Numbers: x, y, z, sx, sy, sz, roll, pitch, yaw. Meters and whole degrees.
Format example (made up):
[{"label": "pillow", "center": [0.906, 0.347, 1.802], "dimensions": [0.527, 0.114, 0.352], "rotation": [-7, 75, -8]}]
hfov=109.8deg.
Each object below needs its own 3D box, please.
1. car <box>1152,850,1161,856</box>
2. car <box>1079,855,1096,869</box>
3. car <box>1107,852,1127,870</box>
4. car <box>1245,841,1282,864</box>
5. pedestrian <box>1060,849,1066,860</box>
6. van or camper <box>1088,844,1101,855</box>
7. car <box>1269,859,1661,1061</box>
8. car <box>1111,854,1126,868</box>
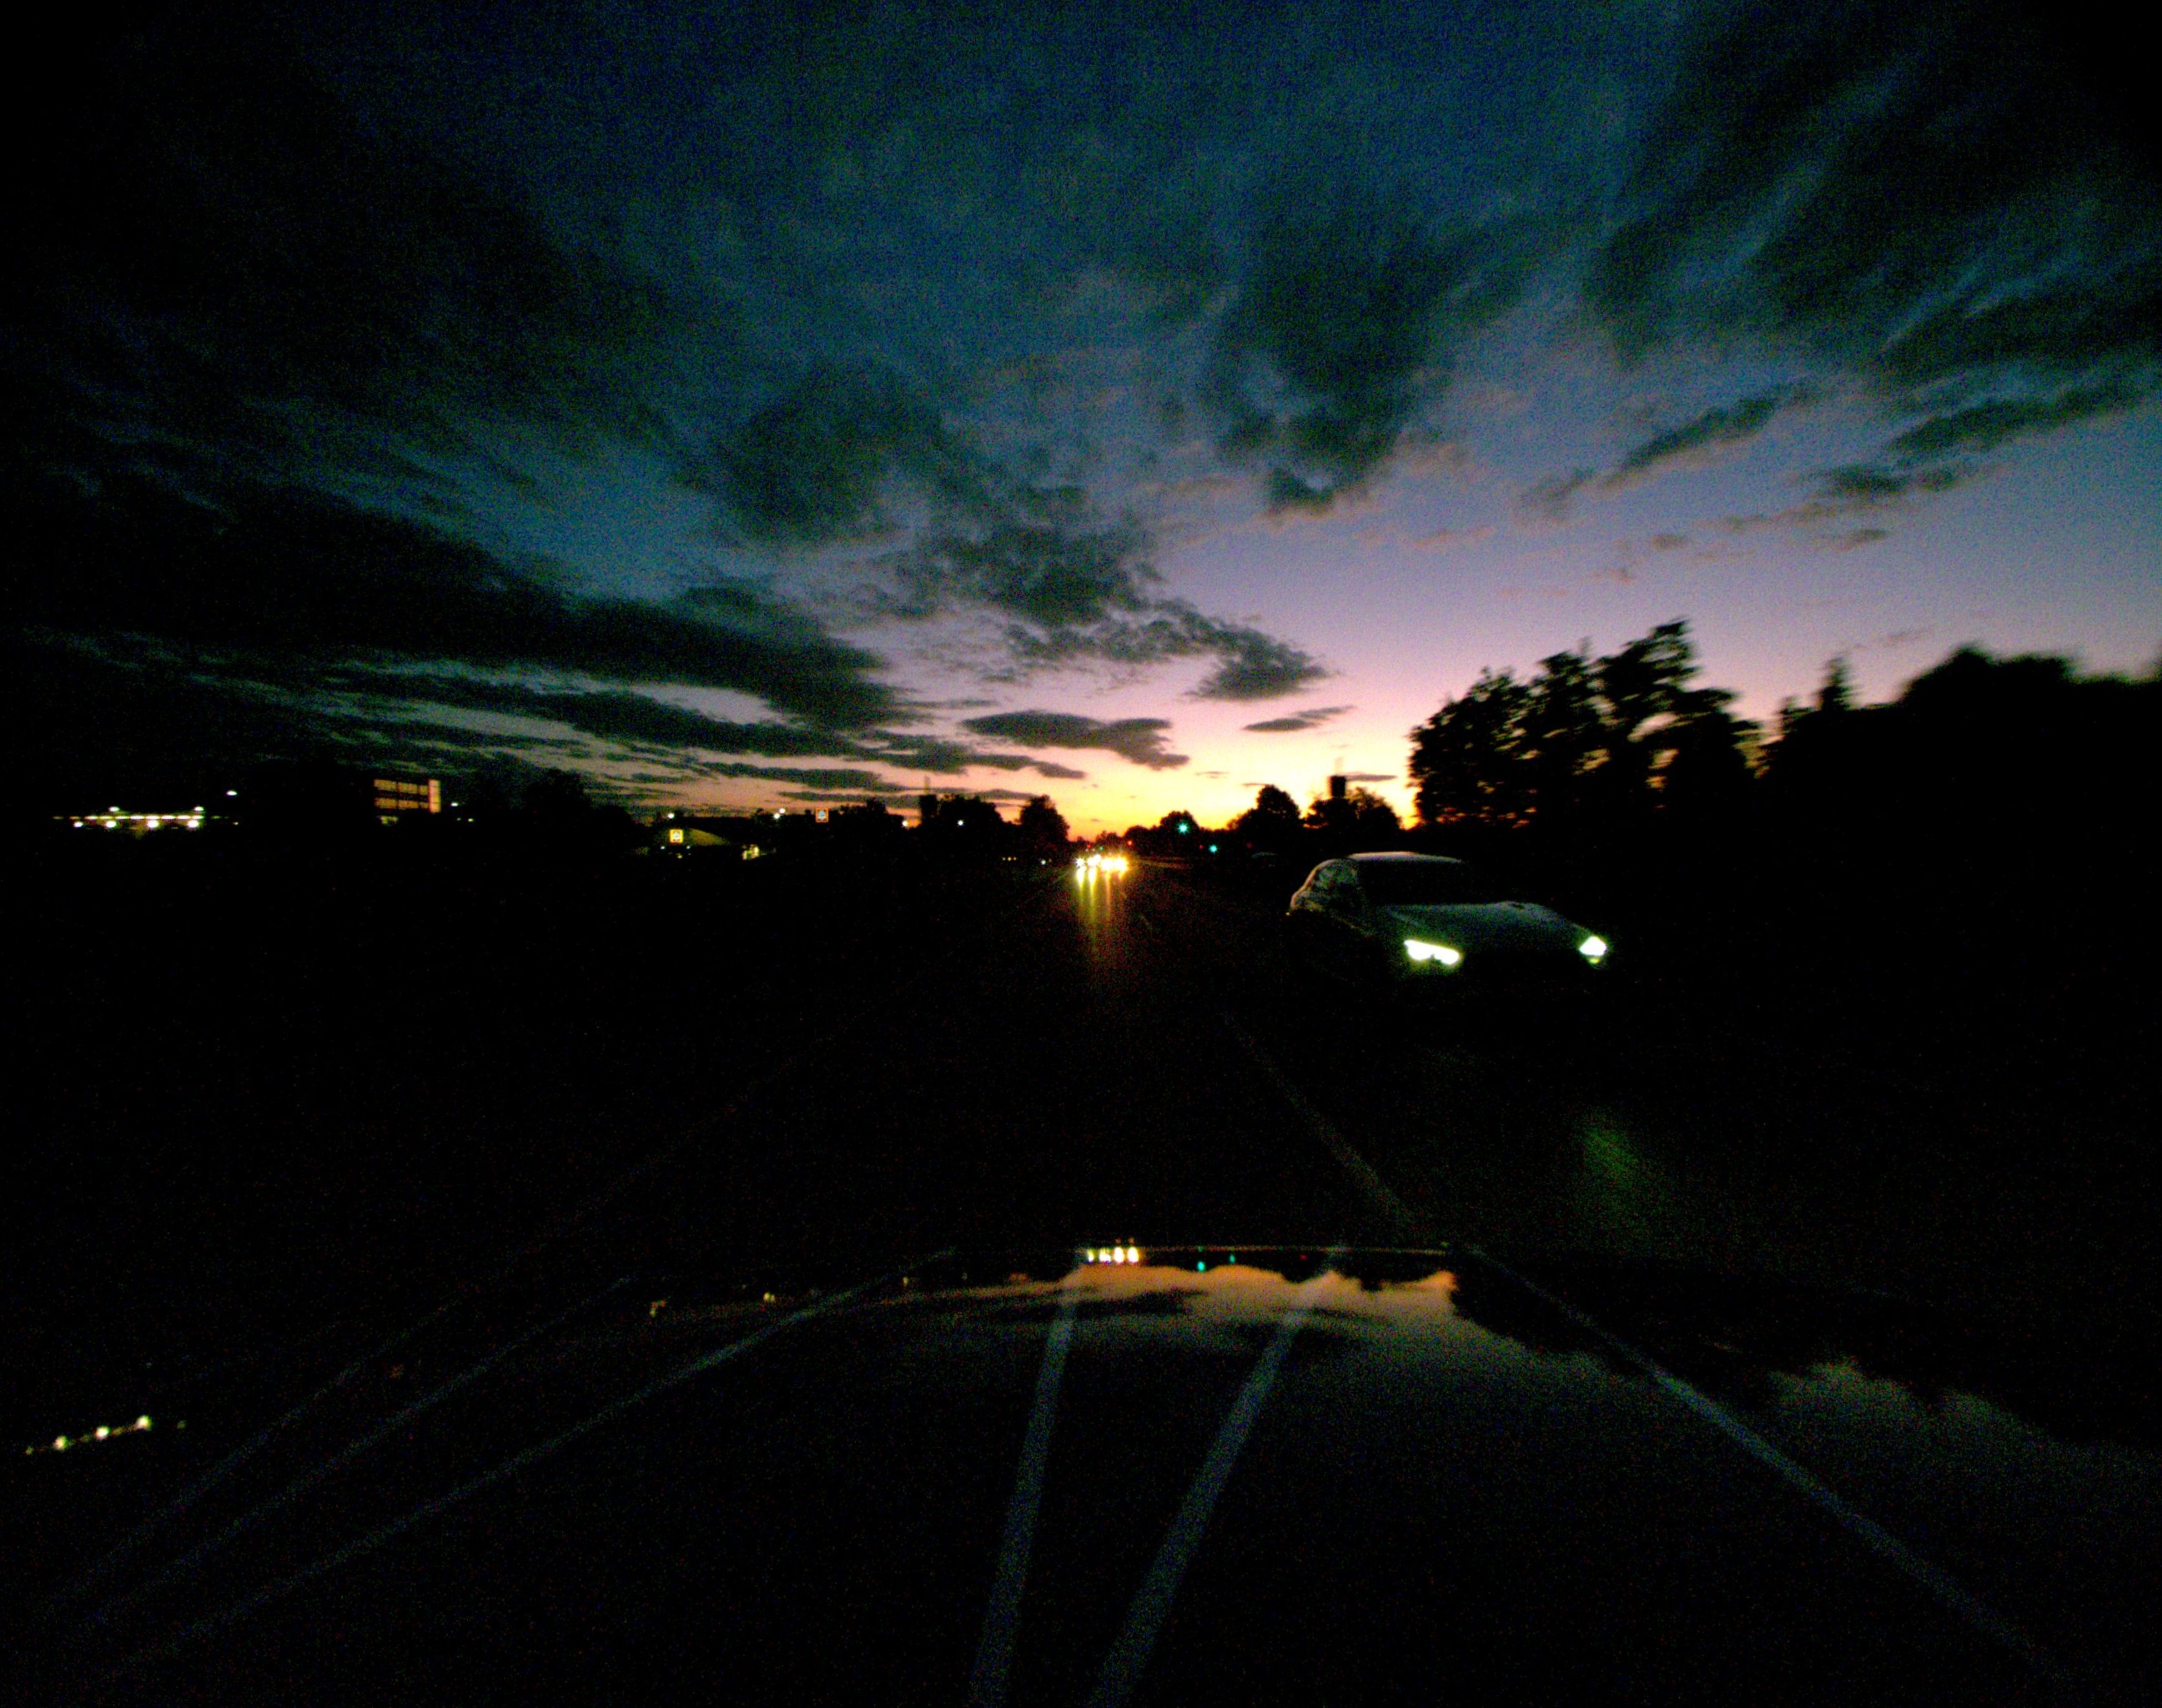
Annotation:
[{"label": "car", "center": [17.597, -0.229, 176.922], "dimensions": [1.656, 1.376, 4.029], "rotation": [-3, 1, 0]}, {"label": "car", "center": [0.870, 1.002, 94.863], "dimensions": [1.902, 1.547, 4.301], "rotation": [-4, -1, 1]}, {"label": "car", "center": [3.169, 0.610, 67.664], "dimensions": [1.663, 1.528, 3.715], "rotation": [-2, 0, 1]}, {"label": "car", "center": [12.992, -0.089, 54.257], "dimensions": [1.659, 1.496, 4.000], "rotation": [-3, 0, 0]}, {"label": "pedestrian", "center": [-3.442, 0.051, 143.227], "dimensions": [0.782, 2.002, 0.712], "rotation": [-4, 1, -38]}, {"label": "van or camper", "center": [3.958, -1.319, 224.812], "dimensions": [3.949, 3.107, 9.942], "rotation": [-1, 0, 1]}, {"label": "car", "center": [3.431, 0.819, 7.988], "dimensions": [1.819, 1.428, 4.647], "rotation": [-3, -1, 2]}, {"label": "car", "center": [4.812, 0.871, 98.637], "dimensions": [1.760, 1.692, 4.250], "rotation": [-3, 0, 1]}]
